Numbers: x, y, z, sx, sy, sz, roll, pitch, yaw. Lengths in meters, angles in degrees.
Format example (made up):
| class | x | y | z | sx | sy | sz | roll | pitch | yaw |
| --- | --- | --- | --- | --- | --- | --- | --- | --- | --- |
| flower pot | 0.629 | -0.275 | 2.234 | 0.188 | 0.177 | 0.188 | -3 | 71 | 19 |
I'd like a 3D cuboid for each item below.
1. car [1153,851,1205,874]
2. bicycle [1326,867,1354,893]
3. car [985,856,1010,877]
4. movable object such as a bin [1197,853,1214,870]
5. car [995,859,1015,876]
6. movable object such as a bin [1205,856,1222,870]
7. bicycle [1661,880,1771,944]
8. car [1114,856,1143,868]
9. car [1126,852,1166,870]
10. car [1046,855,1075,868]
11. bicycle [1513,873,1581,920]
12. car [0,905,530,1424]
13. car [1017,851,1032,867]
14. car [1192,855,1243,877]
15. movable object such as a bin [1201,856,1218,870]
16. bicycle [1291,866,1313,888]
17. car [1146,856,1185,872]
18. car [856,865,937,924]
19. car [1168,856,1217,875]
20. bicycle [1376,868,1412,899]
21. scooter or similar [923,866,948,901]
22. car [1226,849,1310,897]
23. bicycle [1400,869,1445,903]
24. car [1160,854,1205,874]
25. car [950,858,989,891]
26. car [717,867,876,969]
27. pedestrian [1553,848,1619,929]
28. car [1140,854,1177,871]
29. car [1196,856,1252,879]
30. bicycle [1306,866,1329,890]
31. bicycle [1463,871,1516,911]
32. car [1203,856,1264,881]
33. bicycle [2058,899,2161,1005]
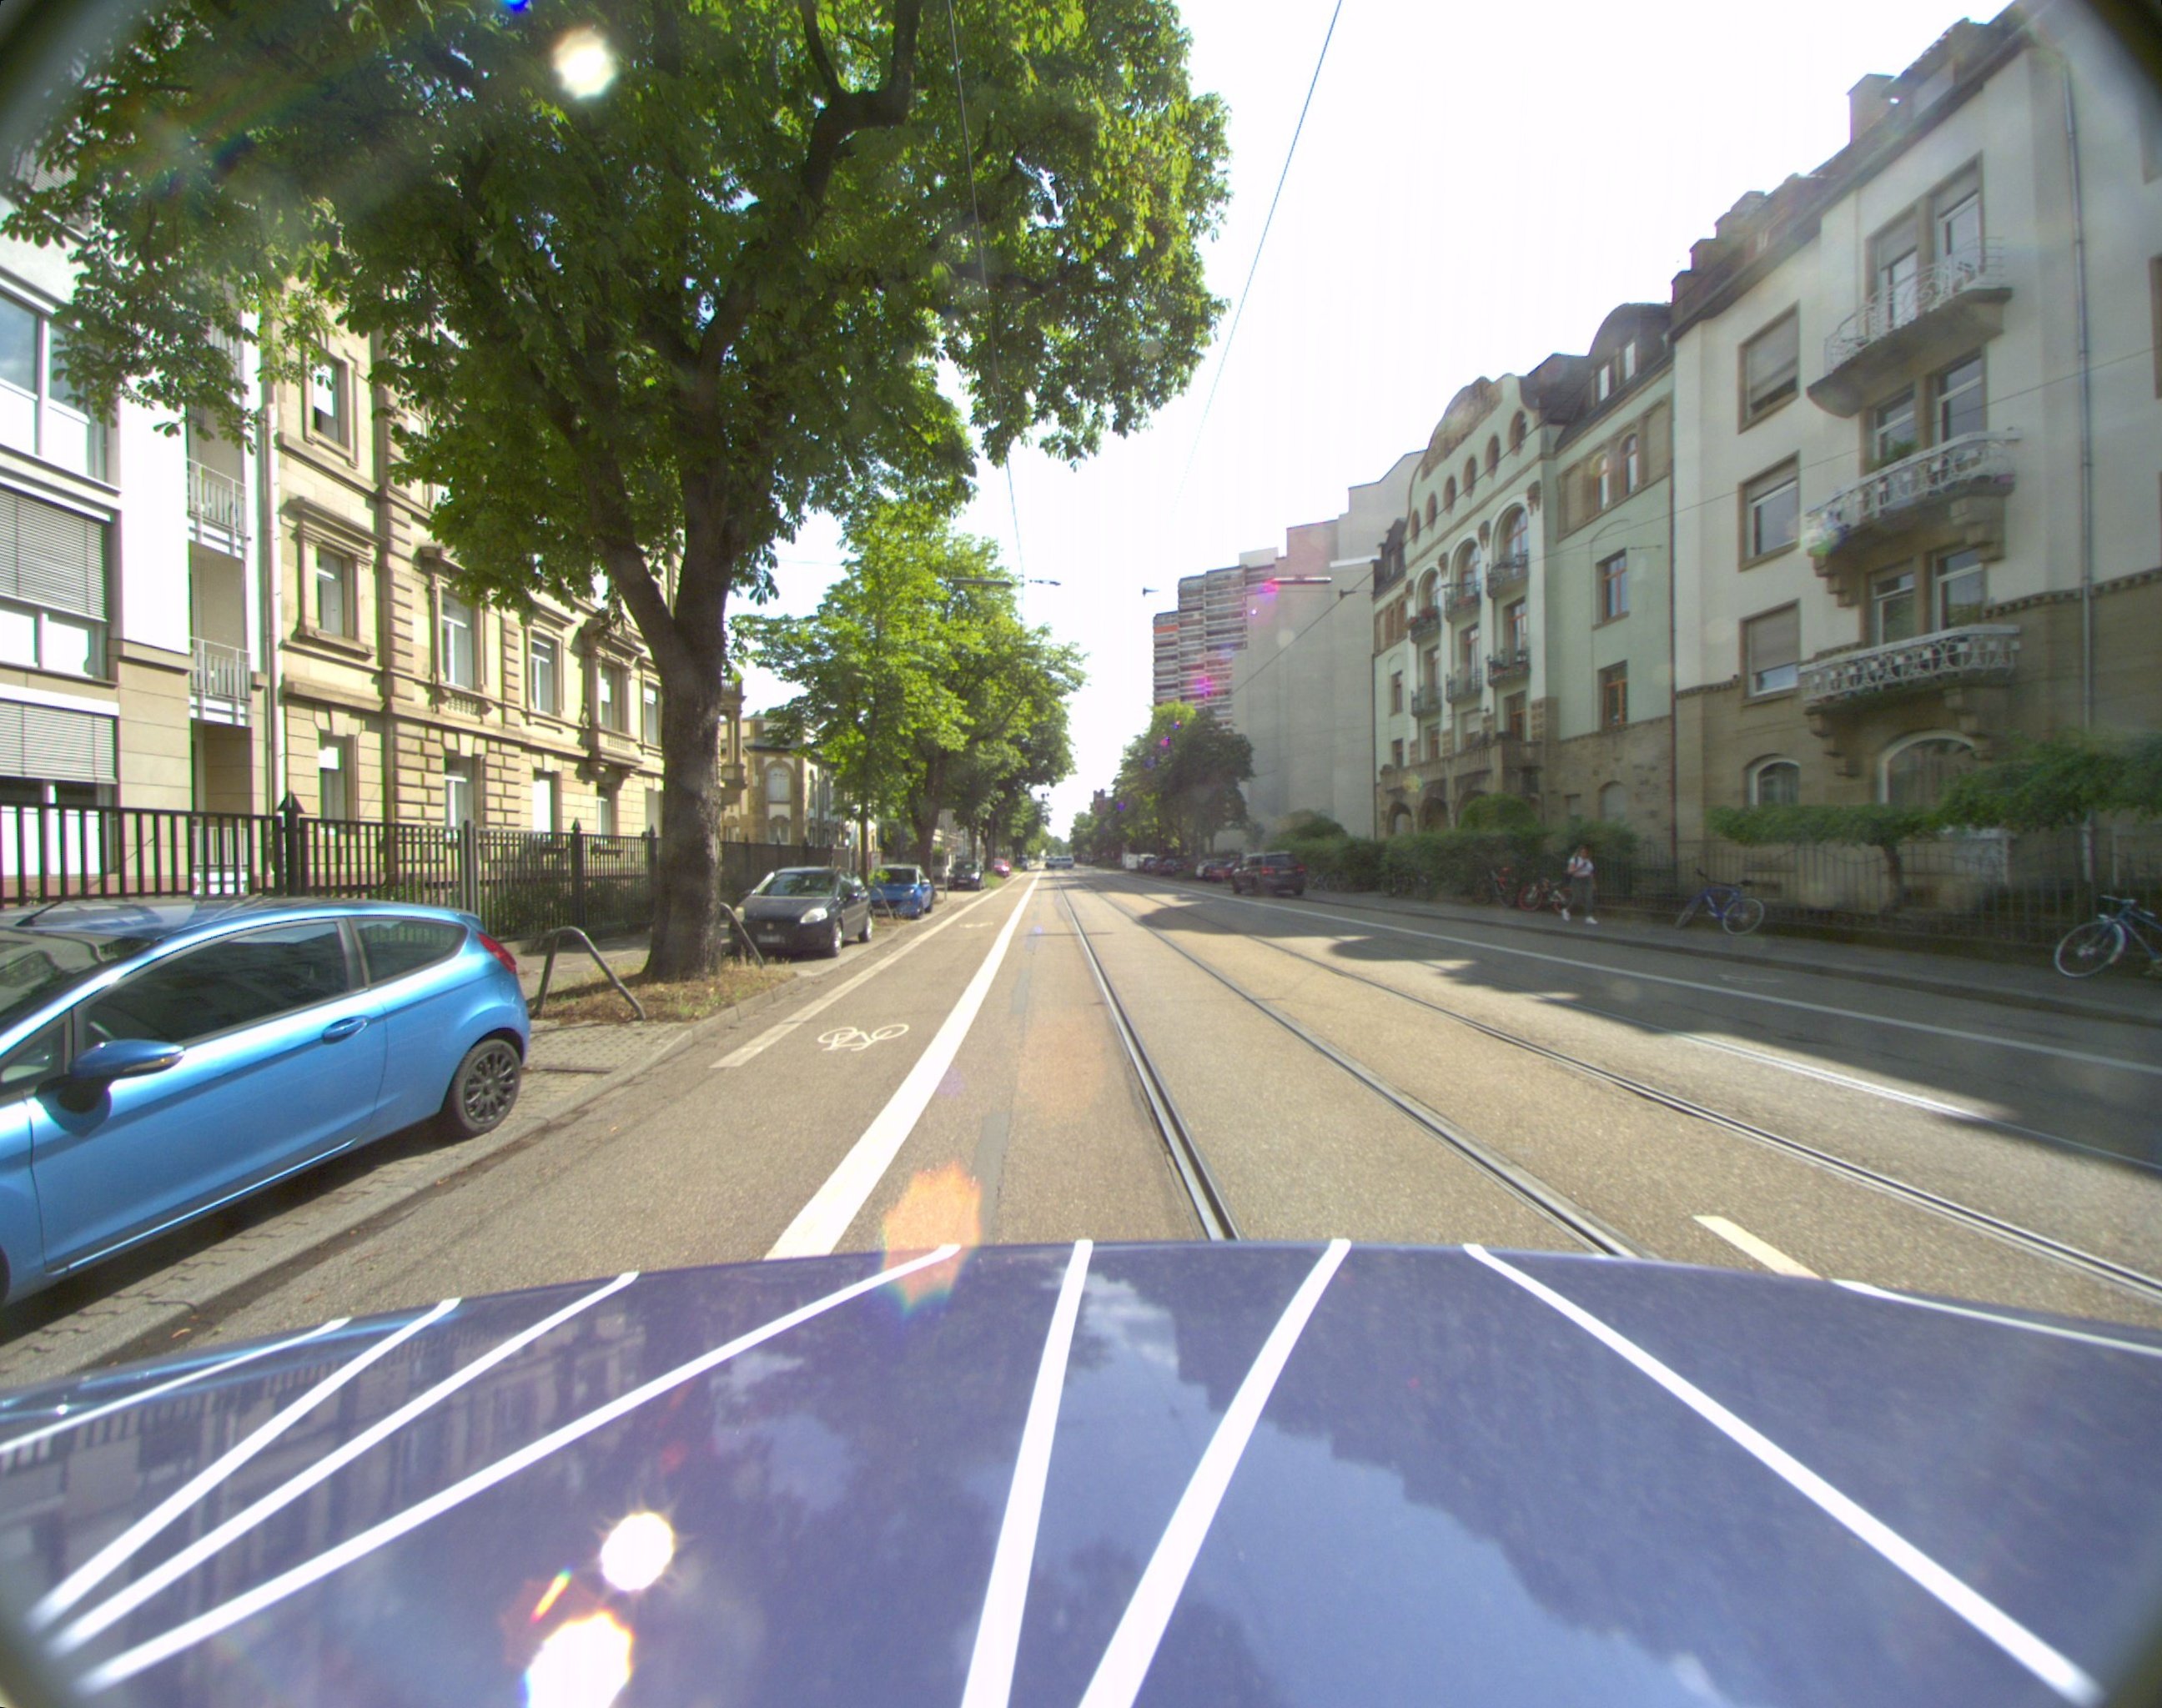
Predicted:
| class | x | y | z | sx | sy | sz | roll | pitch | yaw |
| --- | --- | --- | --- | --- | --- | --- | --- | --- | --- |
| car | 8.656 | 0.753 | 66.852 | 1.911 | 1.942 | 5.180 | 2 | 0 | 42 |
| bicycle | 10.204 | 0.994 | 30.019 | 0.384 | 0.953 | 1.921 | -2 | 0 | -1 |
| car | -6.888 | 1.003 | 63.116 | 1.881 | 1.666 | 4.280 | 1 | 0 | -5 |
| movable object such as a bin | 13.465 | 0.757 | 82.122 | 1.391 | 1.771 | 1.538 | 2 | 0 | -7 |
| car | -7.151 | 1.218 | 71.072 | 1.605 | 1.420 | 3.593 | 2 | 0 | -8 |
| movable object such as a bin | 13.725 | 0.953 | 78.727 | 1.391 | 1.356 | 1.538 | 2 | 0 | -7 |
| bicycle | 10.831 | 0.963 | 13.033 | 0.427 | 0.953 | 1.705 | -2 | 0 | -1 |
| car | 6.228 | 0.995 | 99.929 | 1.737 | 1.514 | 3.893 | -1 | 0 | 41 |
| car | 7.398 | 0.750 | 86.025 | 4.696 | 1.985 | 1.963 | 0 | 0 | -44 |
| car | -3.289 | 1.149 | 121.541 | 4.239 | 1.841 | 1.890 | -4 | 1 | -18 |
| bicycle | 10.651 | 0.953 | 17.428 | 0.384 | 0.970 | 1.801 | -2 | 0 | -1 |
| car | -4.320 | 1.084 | 2.976 | 1.628 | 1.487 | 3.846 | 1 | 0 | -3 |
| car | -9.377 | 0.847 | 126.575 | 2.338 | 2.545 | 5.388 | -4 | 1 | -3 |
| car | 9.679 | 0.873 | 53.687 | 1.692 | 1.475 | 3.816 | 2 | 0 | 42 |
| movable object such as a bin | 13.587 | 0.921 | 80.377 | 1.391 | 1.356 | 1.538 | 2 | 0 | -7 |
| bicycle | 10.057 | 1.021 | 34.628 | 0.384 | 0.953 | 1.810 | -2 | 0 | -1 |
| car | 8.137 | 0.980 | 72.942 | 1.755 | 1.409 | 4.009 | 2 | 0 | 42 |
| car | -5.110 | 1.075 | 21.462 | 1.644 | 1.487 | 3.625 | 1 | 0 | -4 |
| car | 8.903 | 0.937 | 60.556 | 4.009 | 1.475 | 1.736 | 2 | 0 | -45 |
| bicycle | 10.449 | 0.958 | 25.423 | 0.384 | 0.953 | 1.921 | -2 | 0 | -1 |
| scooter or similar | -5.485 | 1.111 | 28.646 | 0.443 | 1.291 | 1.179 | 3 | -2 | -33 |
| car | 7.443 | 0.715 | 30.741 | 1.790 | 1.752 | 4.881 | 0 | 0 | -5 |
| bicycle | 10.440 | 0.959 | 23.285 | 0.452 | 0.953 | 1.800 | -2 | 0 | -3 |
| car | 8.513 | 0.872 | 63.539 | 1.735 | 1.583 | 4.009 | 2 | 0 | 43 |
| car | -5.884 | 1.043 | 40.433 | 1.701 | 1.581 | 4.201 | 1 | 0 | -4 |
| car | -4.829 | 1.011 | 13.443 | 1.644 | 1.487 | 3.756 | 1 | 0 | -4 |
| pedestrian | 10.157 | 0.677 | 15.306 | 0.681 | 1.559 | 0.882 | -3 | 1 | 0 |
| car | 7.798 | 0.870 | 76.079 | 1.755 | 1.683 | 3.724 | 2 | 0 | 44 |
| car | 9.526 | 0.895 | 50.516 | 3.816 | 1.475 | 1.693 | 2 | 0 | -42 |
| bicycle | 10.123 | 1.005 | 32.537 | 0.384 | 0.953 | 1.810 | -2 | 0 | -1 |
| bicycle | 10.672 | 0.940 | 19.915 | 0.384 | 0.953 | 1.801 | -2 | 0 | -1 |
| car | 9.549 | 0.911 | 47.422 | 1.841 | 1.475 | 3.979 | 2 | 0 | 44 |
| bicycle | 10.987 | 1.014 | 7.473 | 0.512 | 0.954 | 1.815 | -4 | 2 | 4 |
